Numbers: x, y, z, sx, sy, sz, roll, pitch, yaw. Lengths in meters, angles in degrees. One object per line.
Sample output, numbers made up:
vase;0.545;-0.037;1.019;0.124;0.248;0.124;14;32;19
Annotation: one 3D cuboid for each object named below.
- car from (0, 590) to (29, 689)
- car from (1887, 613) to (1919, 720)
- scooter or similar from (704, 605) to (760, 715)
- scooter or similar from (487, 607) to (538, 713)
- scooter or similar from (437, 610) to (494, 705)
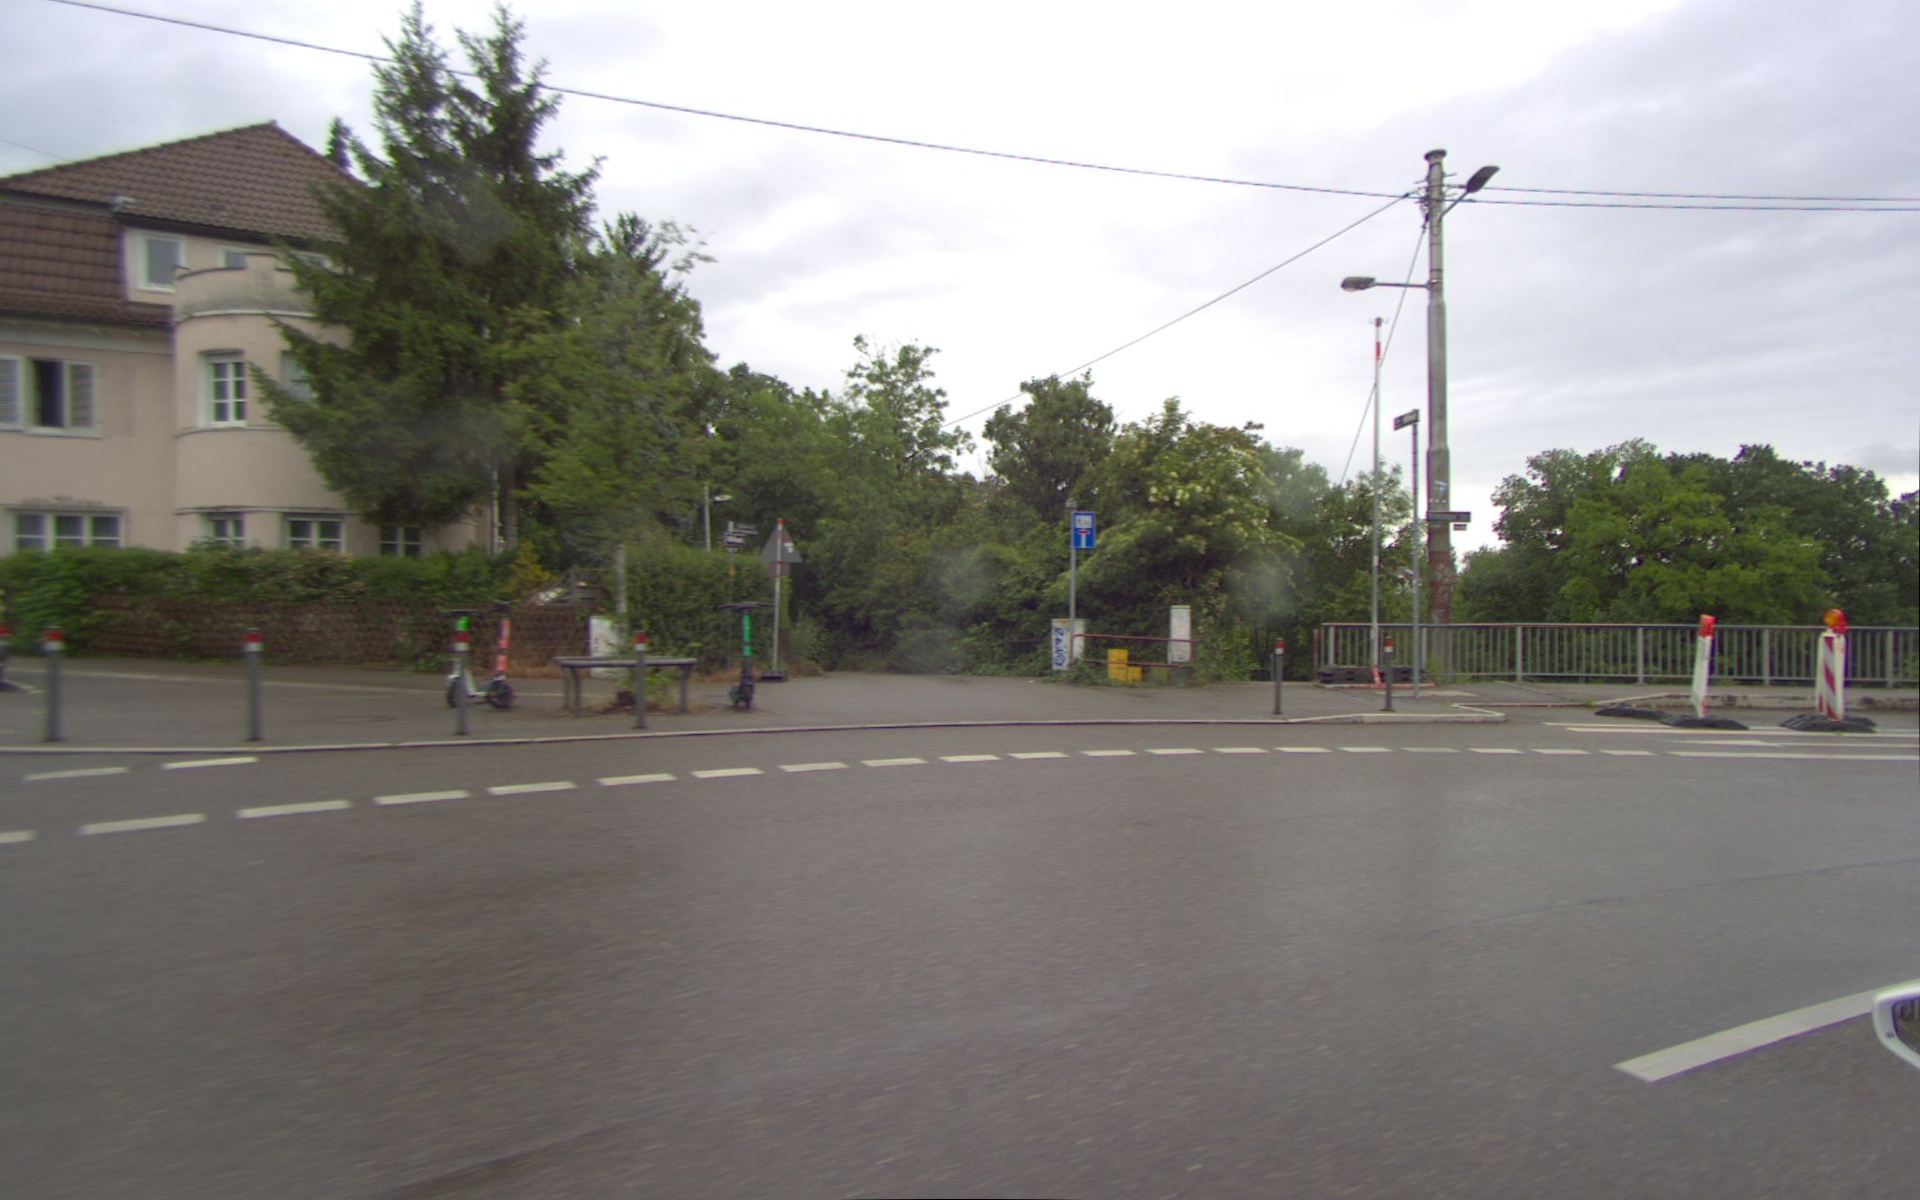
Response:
car;-14.559;0.458;13.403;4.124;1.283;1.674;2;0;25
car;14.751;0.937;12.883;4.054;1.417;1.691;2;0;2
scooter or similar;-2.724;0.688;11.963;0.241;1.234;1.026;1;0;-35
scooter or similar;-5.232;0.675;11.766;0.239;1.180;1.036;2;0;-8
scooter or similar;-5.937;0.665;12.085;0.239;1.083;1.036;2;0;-6
